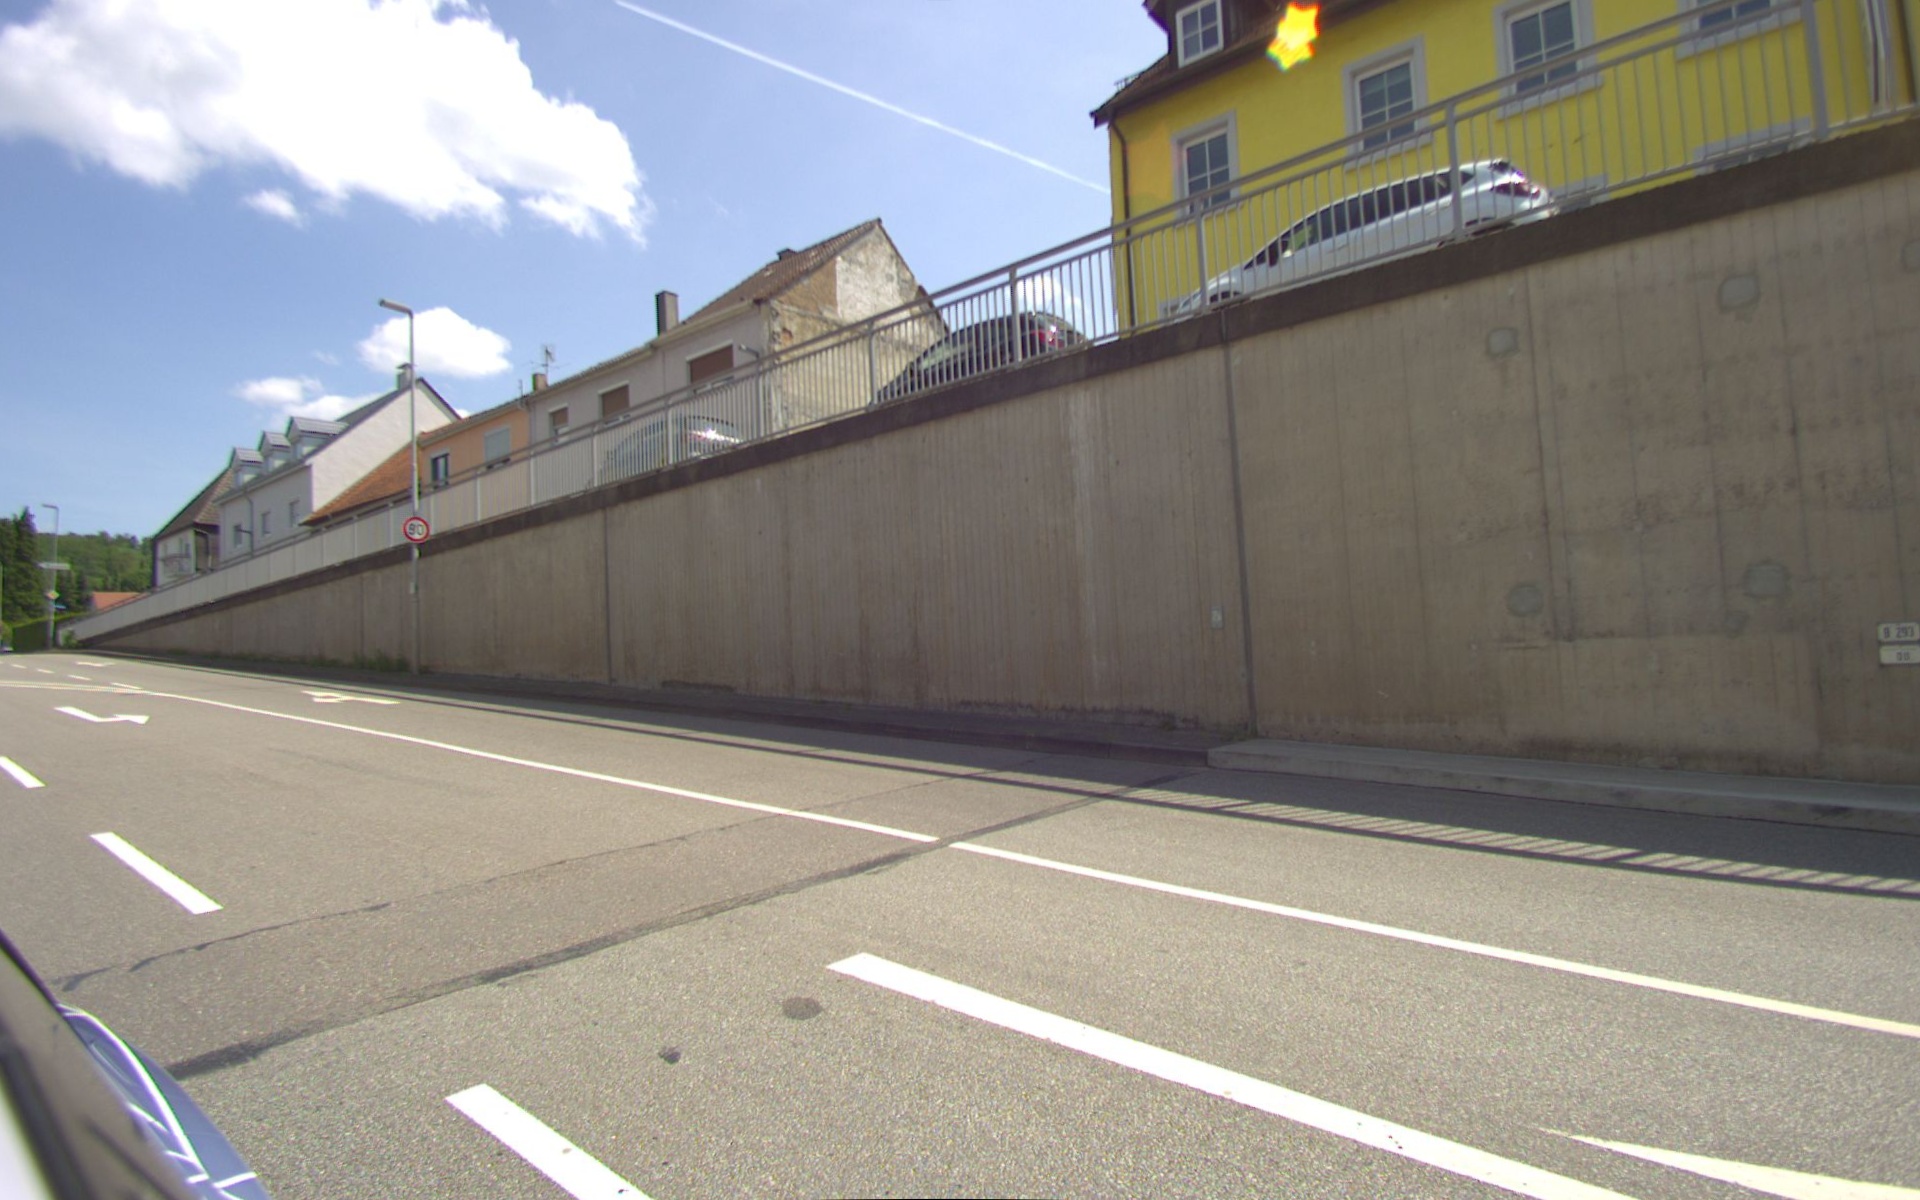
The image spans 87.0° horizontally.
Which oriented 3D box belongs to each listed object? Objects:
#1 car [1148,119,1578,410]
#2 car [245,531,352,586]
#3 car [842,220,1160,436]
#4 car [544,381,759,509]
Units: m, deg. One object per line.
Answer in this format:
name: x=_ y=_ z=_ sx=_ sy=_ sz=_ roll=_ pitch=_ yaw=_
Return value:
car: x=4.349 y=-3.434 z=11.224 sx=3.996 sy=1.681 sz=1.883 roll=-4 pitch=-3 yaw=39
car: x=-22.431 y=-1.345 z=34.259 sx=4.388 sy=1.416 sz=1.768 roll=-4 pitch=-3 yaw=39
car: x=0.473 y=-3.639 z=14.329 sx=4.218 sy=1.718 sz=1.804 roll=-4 pitch=-3 yaw=39
car: x=-5.965 y=-2.832 z=19.317 sx=4.388 sy=1.536 sz=1.781 roll=-4 pitch=-3 yaw=39
